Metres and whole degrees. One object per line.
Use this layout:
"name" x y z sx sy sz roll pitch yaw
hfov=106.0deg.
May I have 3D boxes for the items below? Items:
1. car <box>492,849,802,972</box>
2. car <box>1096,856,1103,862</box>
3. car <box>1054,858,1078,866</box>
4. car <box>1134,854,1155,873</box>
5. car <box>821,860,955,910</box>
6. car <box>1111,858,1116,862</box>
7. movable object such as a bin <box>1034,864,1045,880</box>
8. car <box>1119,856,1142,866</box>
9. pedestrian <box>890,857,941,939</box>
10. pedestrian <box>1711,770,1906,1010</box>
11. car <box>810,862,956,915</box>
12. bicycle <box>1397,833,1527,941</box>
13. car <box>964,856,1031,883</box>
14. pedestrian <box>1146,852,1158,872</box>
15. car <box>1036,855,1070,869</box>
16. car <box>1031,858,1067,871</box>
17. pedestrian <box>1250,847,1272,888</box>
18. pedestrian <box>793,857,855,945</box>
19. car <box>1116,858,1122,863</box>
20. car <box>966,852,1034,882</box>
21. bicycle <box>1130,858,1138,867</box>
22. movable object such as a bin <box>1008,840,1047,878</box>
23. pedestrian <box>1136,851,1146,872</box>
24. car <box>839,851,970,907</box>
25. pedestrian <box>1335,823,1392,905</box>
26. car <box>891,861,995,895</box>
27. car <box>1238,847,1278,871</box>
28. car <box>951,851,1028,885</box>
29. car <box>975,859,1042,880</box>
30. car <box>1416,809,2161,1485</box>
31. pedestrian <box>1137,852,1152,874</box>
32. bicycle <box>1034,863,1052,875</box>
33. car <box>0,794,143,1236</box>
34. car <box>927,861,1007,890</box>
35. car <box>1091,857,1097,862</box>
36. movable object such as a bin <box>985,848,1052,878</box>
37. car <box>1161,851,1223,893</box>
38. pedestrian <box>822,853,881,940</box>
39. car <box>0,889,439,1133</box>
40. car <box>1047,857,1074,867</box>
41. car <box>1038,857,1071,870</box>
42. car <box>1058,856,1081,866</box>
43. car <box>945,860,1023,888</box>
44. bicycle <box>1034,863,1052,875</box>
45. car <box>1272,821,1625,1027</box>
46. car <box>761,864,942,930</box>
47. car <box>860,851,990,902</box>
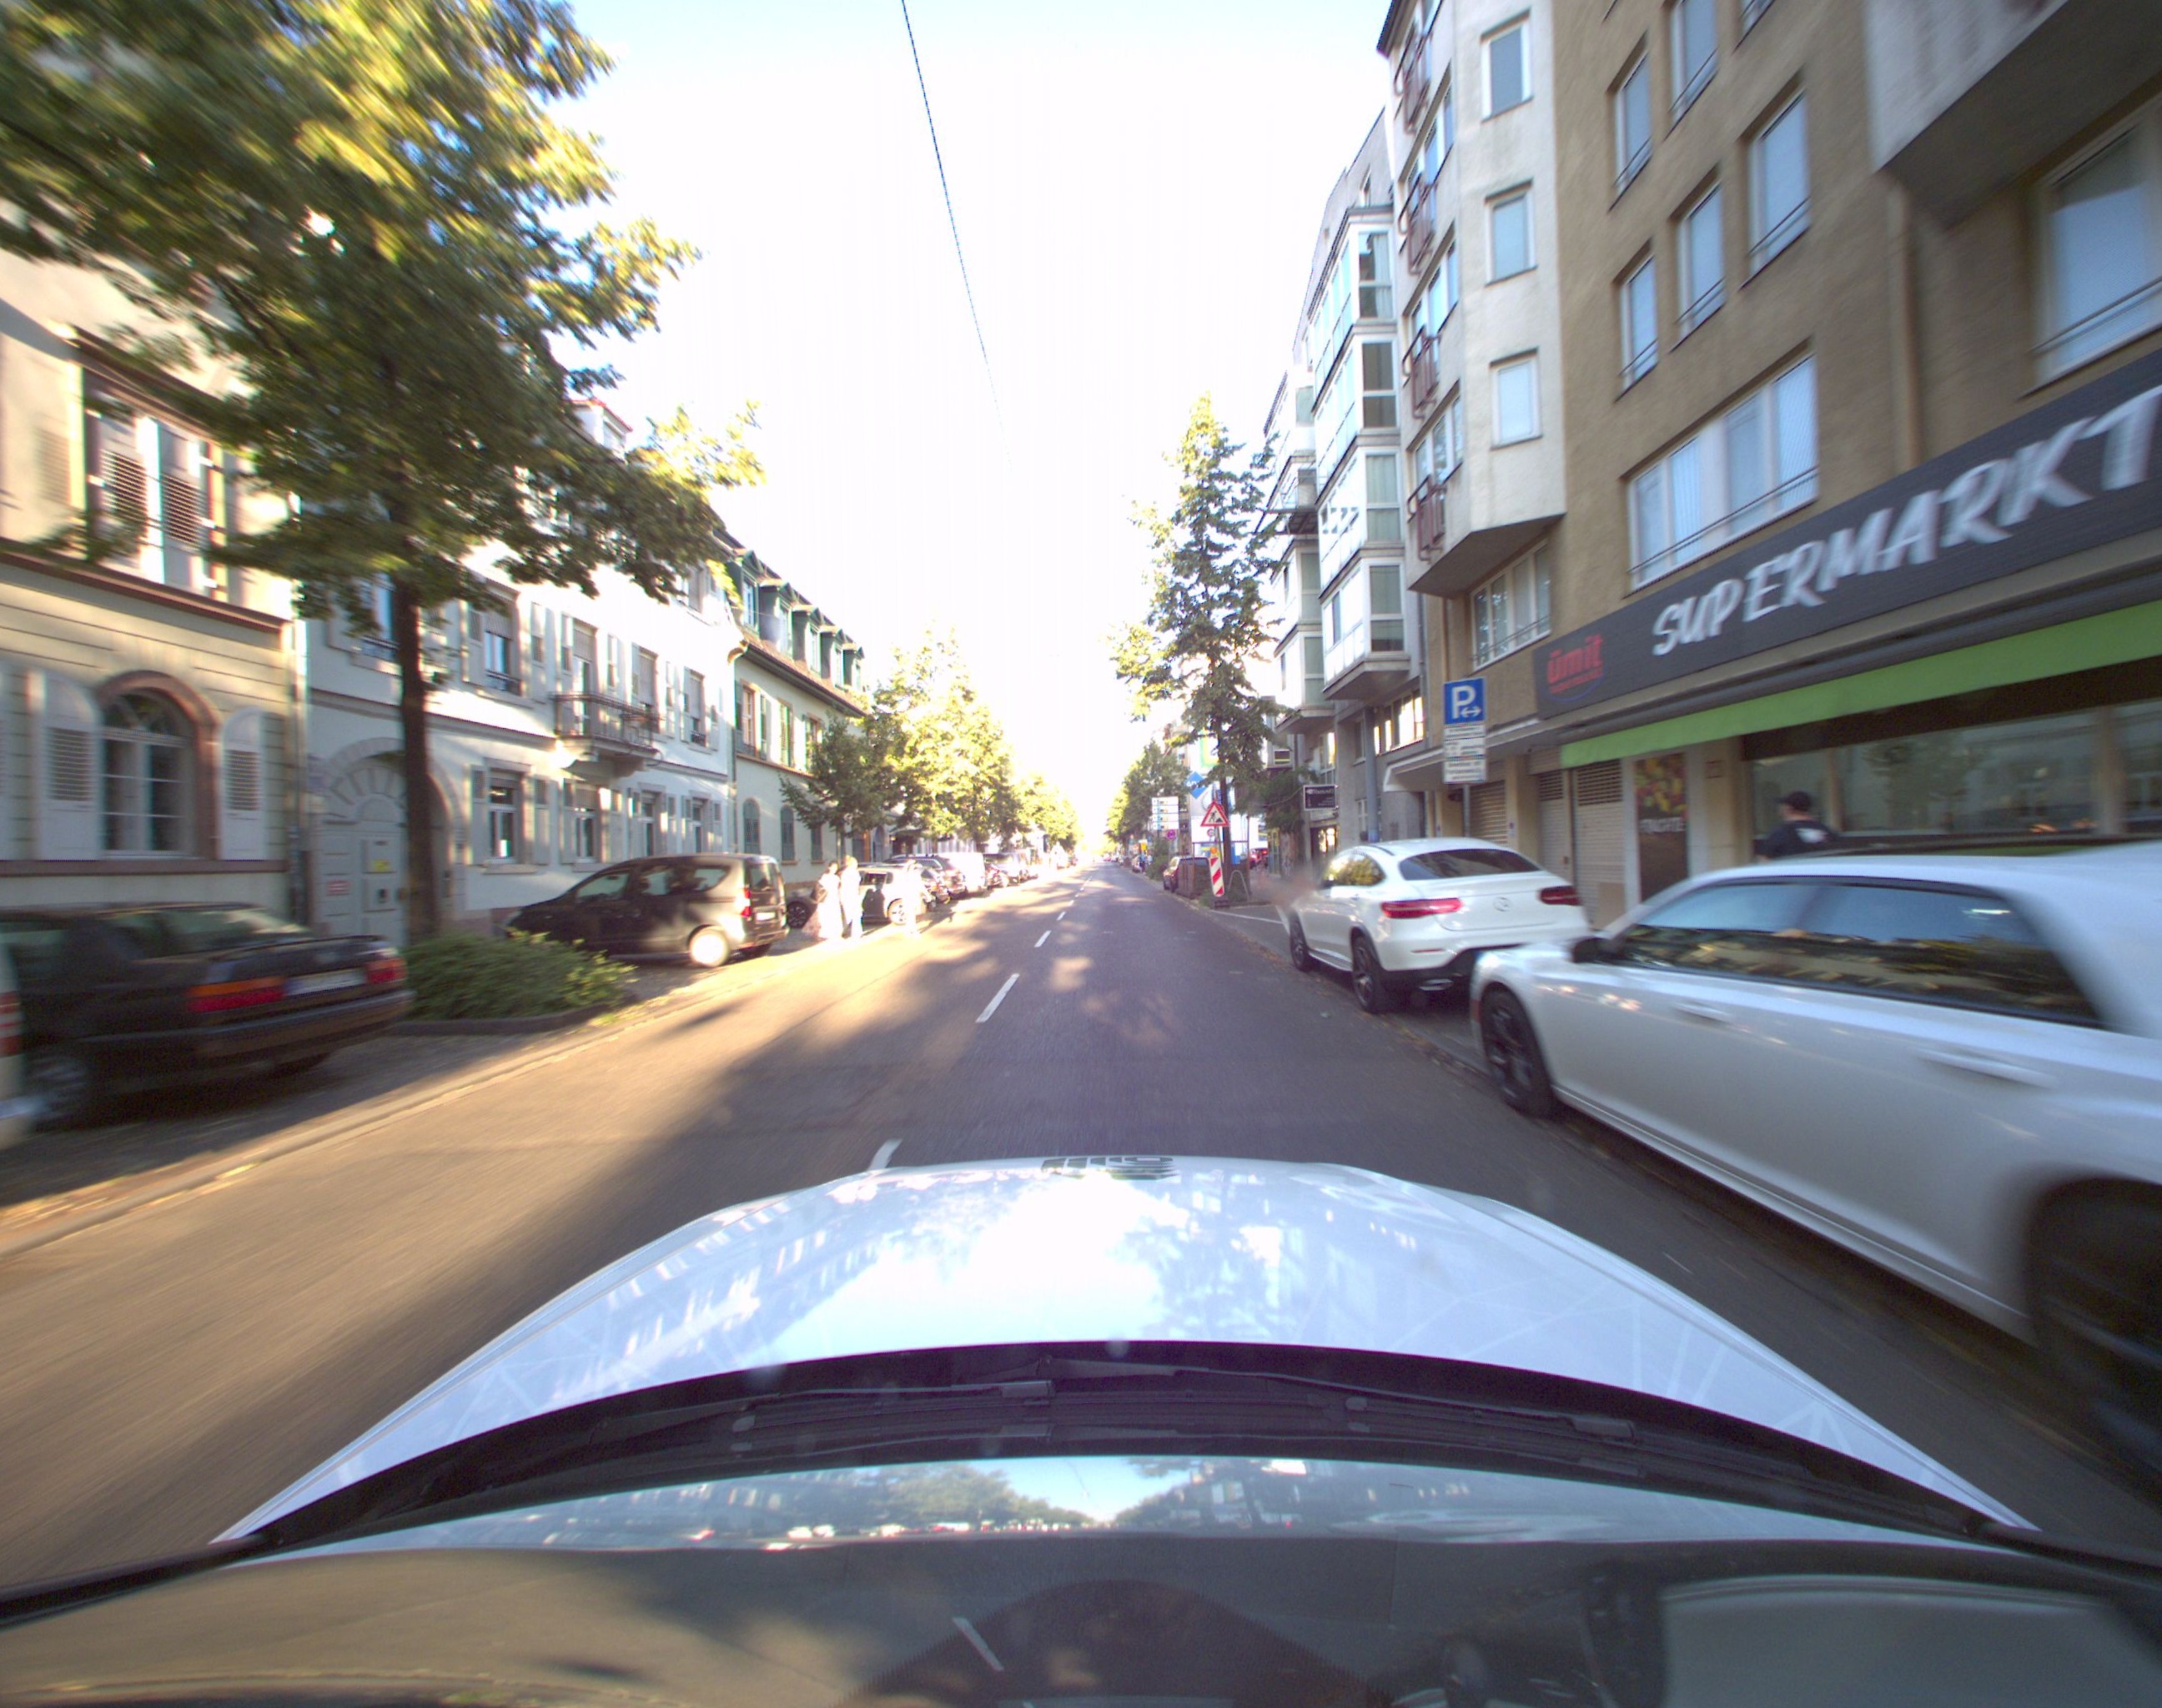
"car" -7.048 0.883 13.515 4.121 1.806 1.808 -2 0 3
"car" 5.276 1.456 234.750 1.745 1.540 3.306 -2 -1 3
"car" -2.834 1.480 155.450 4.425 1.523 1.920 -1 -1 2
"car" 5.855 0.891 75.648 1.680 1.575 4.015 -4 0 2
"car" -6.577 1.040 28.065 4.020 1.555 1.966 -2 0 4
"car" 10.160 1.791 252.553 1.507 1.298 3.306 -1 -1 3
"movable object such as a bin" -3.082 1.356 61.207 0.687 1.105 0.884 -2 0 3
"car" 7.993 1.121 131.869 1.654 1.588 3.846 -1 -1 44
"pedestrian" -3.459 0.899 17.072 0.824 1.638 0.828 -2 -1 2
"pedestrian" 5.550 0.263 6.261 0.785 1.704 0.700 -3 -1 1
"car" -6.138 1.058 25.590 4.023 1.484 1.963 -2 0 1
"bicycle" 5.009 0.401 10.892 0.772 1.262 2.051 -4 0 2
"car" -5.446 1.006 53.545 4.114 1.637 1.861 -1 0 2
"pedestrian" 6.292 0.713 72.151 0.657 1.700 0.660 -4 -1 -43
"car" -3.928 1.127 113.682 4.555 1.962 1.991 -1 -1 1
"car" -4.022 1.331 103.490 4.531 1.541 1.811 -1 -1 0
"pedestrian" 6.885 0.528 31.199 0.608 1.525 0.773 -3 -1 2
"pedestrian" -5.160 0.920 16.403 0.918 1.695 0.762 -2 -1 2
"car" 9.994 1.744 211.628 1.507 1.276 3.306 -1 -1 3
"car" -5.544 0.899 56.243 4.470 1.976 1.965 -1 0 -1
"bicycle" 7.064 1.120 108.769 0.593 1.178 1.856 -2 0 21
"movable object such as a bin" -4.389 0.418 67.533 2.615 2.969 5.305 -1 0 1
"pedestrian" 5.357 0.665 72.467 0.677 1.754 0.823 -2 -1 -9
"car" -6.527 0.906 30.442 4.411 1.870 1.895 -2 0 2
"pedestrian" 6.485 0.220 18.736 0.853 1.794 0.996 -3 0 -2
"car" -6.433 1.113 38.236 4.459 1.485 1.735 -1 0 3
"car" 12.115 0.381 55.975 1.728 1.431 4.909 -3 -1 1
"car" -5.650 0.841 50.852 4.466 1.976 2.069 -1 0 2
"car" -5.272 1.117 59.311 4.573 1.470 1.895 -1 0 4
"car" 3.358 0.630 3.374 1.835 1.480 5.191 -4 0 1
"pedestrian" 5.442 0.769 69.954 1.013 1.825 0.778 -4 -1 -8
"bicycle" -3.643 1.437 78.417 1.672 1.079 0.445 1 -2 9
"car" -7.059 0.756 3.278 4.481 1.953 1.920 -1 0 3
"car" -6.067 1.137 43.621 3.905 1.501 1.907 -1 0 4
"car" 4.187 1.650 254.259 1.745 1.540 3.306 -2 -1 3
"movable object such as a bin" -5.474 0.773 71.902 2.285 2.495 5.789 -2 -1 45
"car" 4.510 0.701 33.728 1.823 1.488 4.848 -4 0 0
"pedestrian" -4.831 0.877 17.159 0.918 1.759 0.762 -3 -1 2
"car" -7.376 1.049 5.948 4.135 1.439 1.595 -1 0 2
"car" -3.394 1.413 137.993 4.425 1.568 1.920 -1 -1 2
"car" -3.771 1.372 116.441 4.554 1.698 2.061 -1 -1 2
"car" -2.310 1.392 161.946 4.425 1.759 1.920 -1 -1 2
"car" -5.497 1.112 46.728 4.317 1.501 1.840 -1 0 -4
"bicycle" -3.647 1.421 77.825 1.672 1.079 0.445 1 -2 9
"car" 3.586 0.586 9.086 1.872 1.574 4.694 -4 0 2
"car" -5.707 1.042 20.614 4.047 1.461 1.685 -2 0 -1
"car" -6.332 0.894 33.403 4.852 1.908 1.974 -2 0 1
